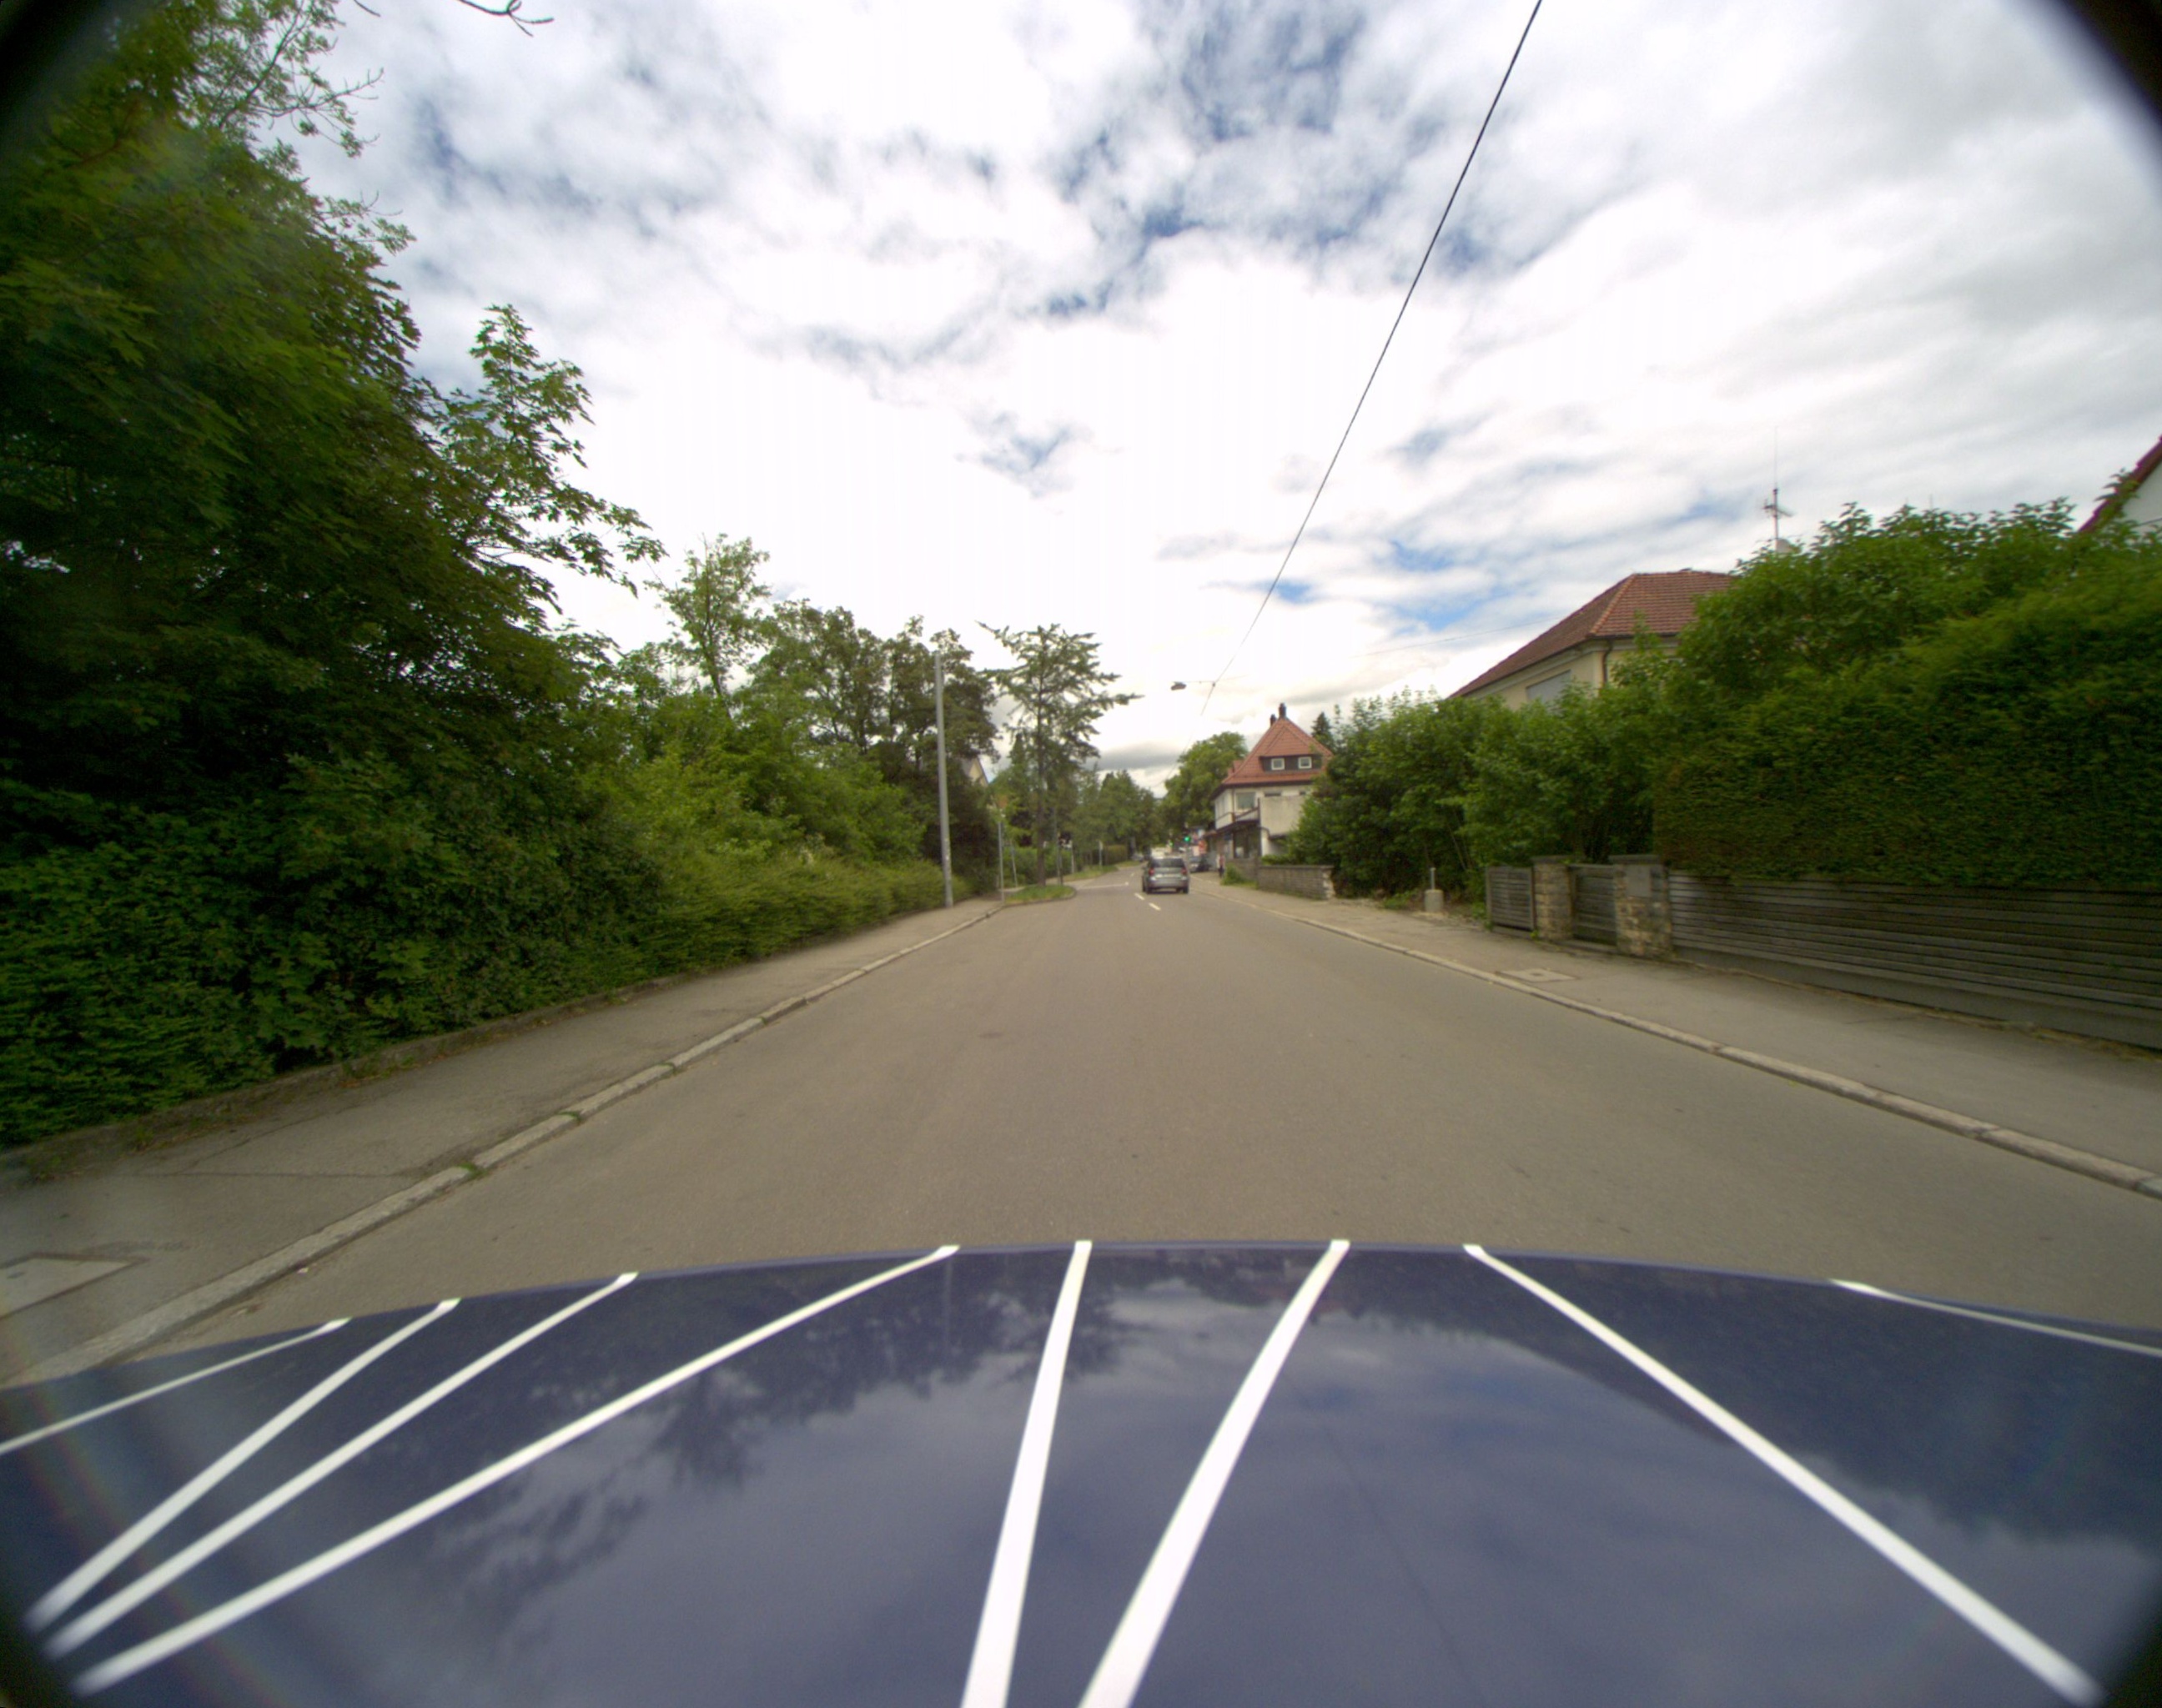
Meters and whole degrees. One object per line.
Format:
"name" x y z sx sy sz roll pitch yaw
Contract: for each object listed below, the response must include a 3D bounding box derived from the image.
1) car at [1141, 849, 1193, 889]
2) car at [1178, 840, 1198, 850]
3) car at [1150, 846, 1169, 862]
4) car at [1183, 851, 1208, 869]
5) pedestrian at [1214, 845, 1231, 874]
"car" 3.739 0.618 33.701 1.845 1.646 4.138 0 1 0
"car" 23.186 -1.998 165.029 3.993 1.729 2.002 -5 1 15
"car" 9.920 -0.006 96.655 1.884 1.905 4.833 -5 1 2
"car" 9.880 0.504 65.384 1.822 1.344 3.394 -5 1 13
"pedestrian" 8.909 0.353 47.796 0.821 1.734 0.604 -5 1 3
